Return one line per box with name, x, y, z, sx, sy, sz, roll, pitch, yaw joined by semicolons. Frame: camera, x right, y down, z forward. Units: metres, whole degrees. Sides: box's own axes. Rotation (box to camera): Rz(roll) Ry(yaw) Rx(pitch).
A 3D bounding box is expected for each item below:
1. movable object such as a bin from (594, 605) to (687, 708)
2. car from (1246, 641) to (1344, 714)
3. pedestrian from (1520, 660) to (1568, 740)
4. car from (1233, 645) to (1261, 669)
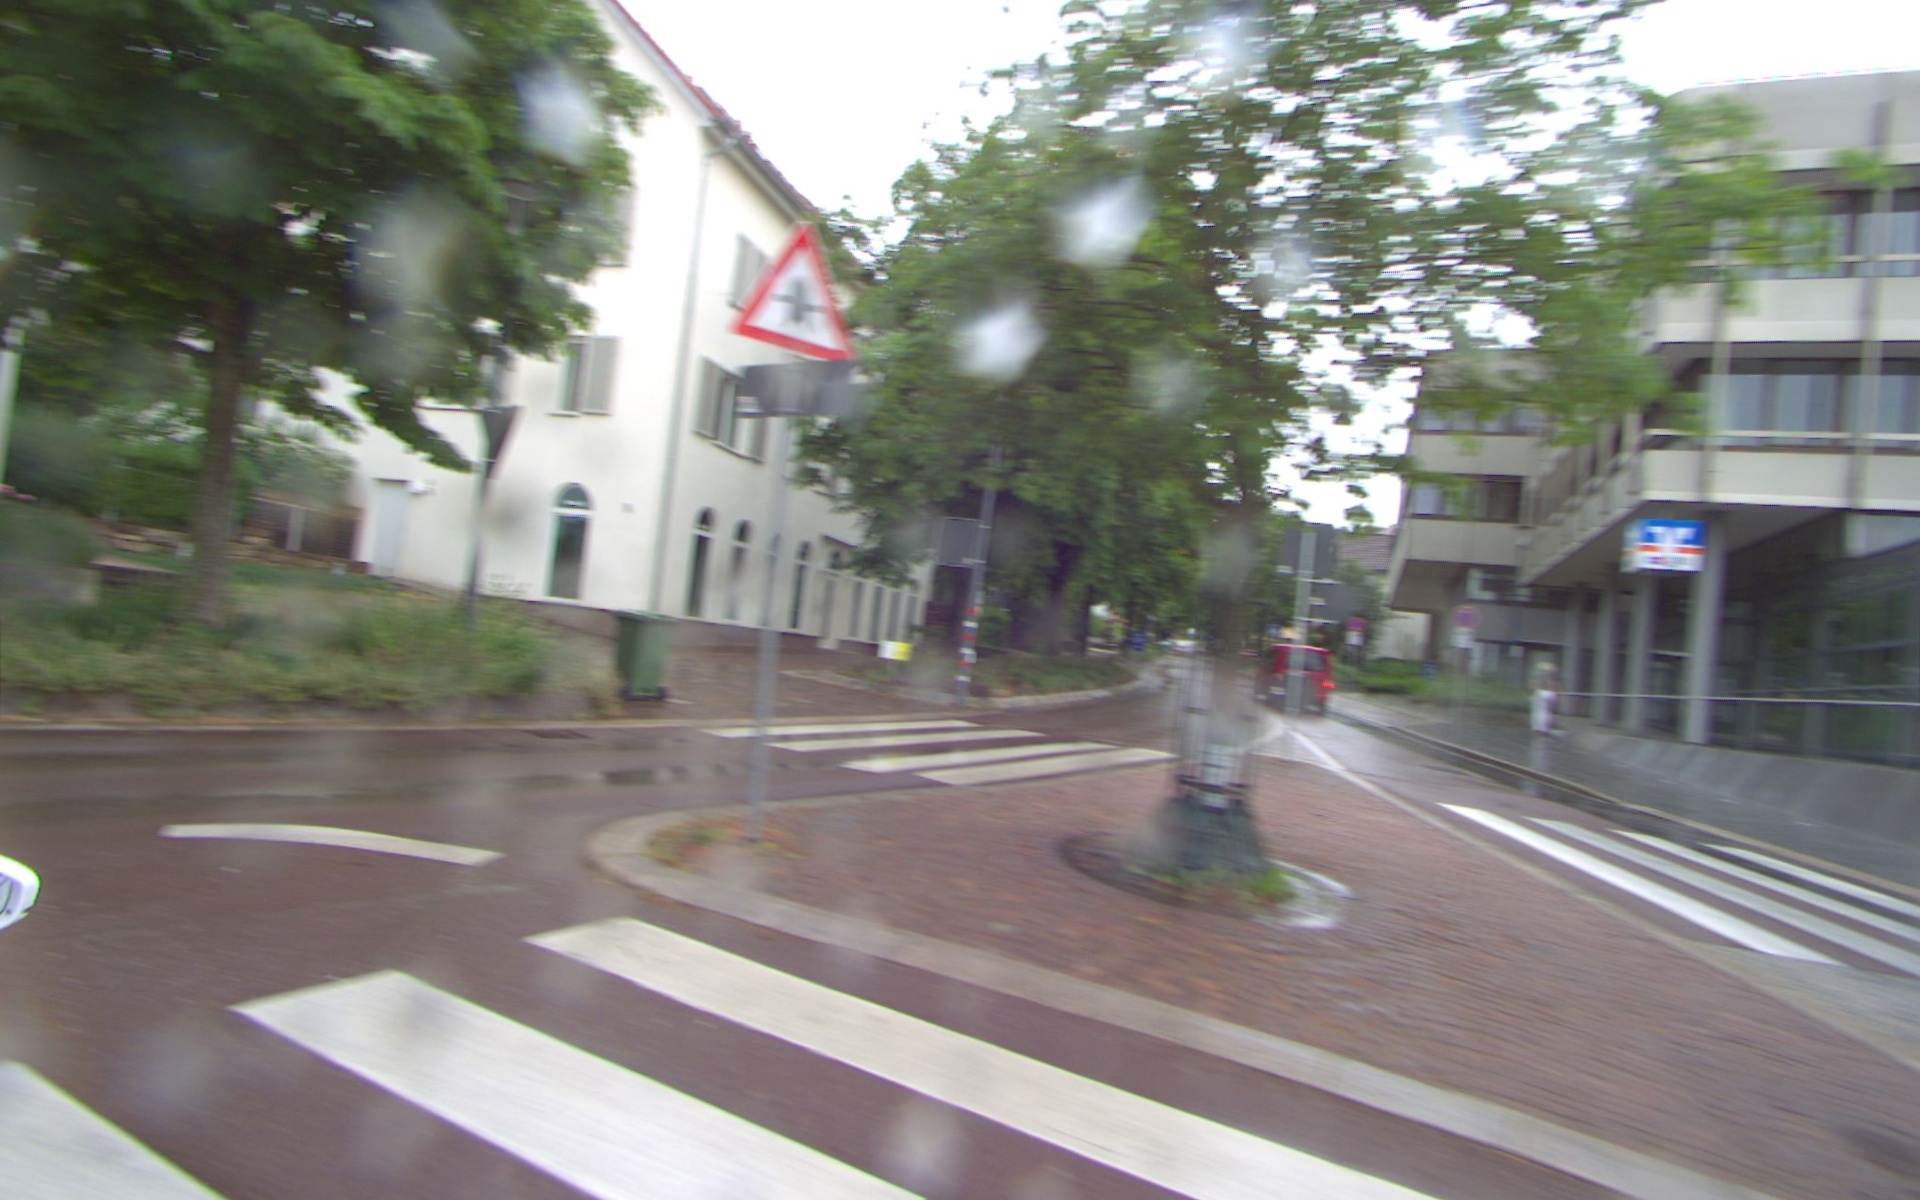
movable object such as a bin;-3.845;0.680;12.120;0.726;1.137;0.650;5;-1;21
car;10.063;2.298;30.536;1.832;1.852;4.189;6;-2;7
pedestrian;14.319;2.437;24.641;0.824;1.853;0.813;6;0;33
car;24.981;4.963;87.427;1.963;1.789;4.002;5;-2;19
